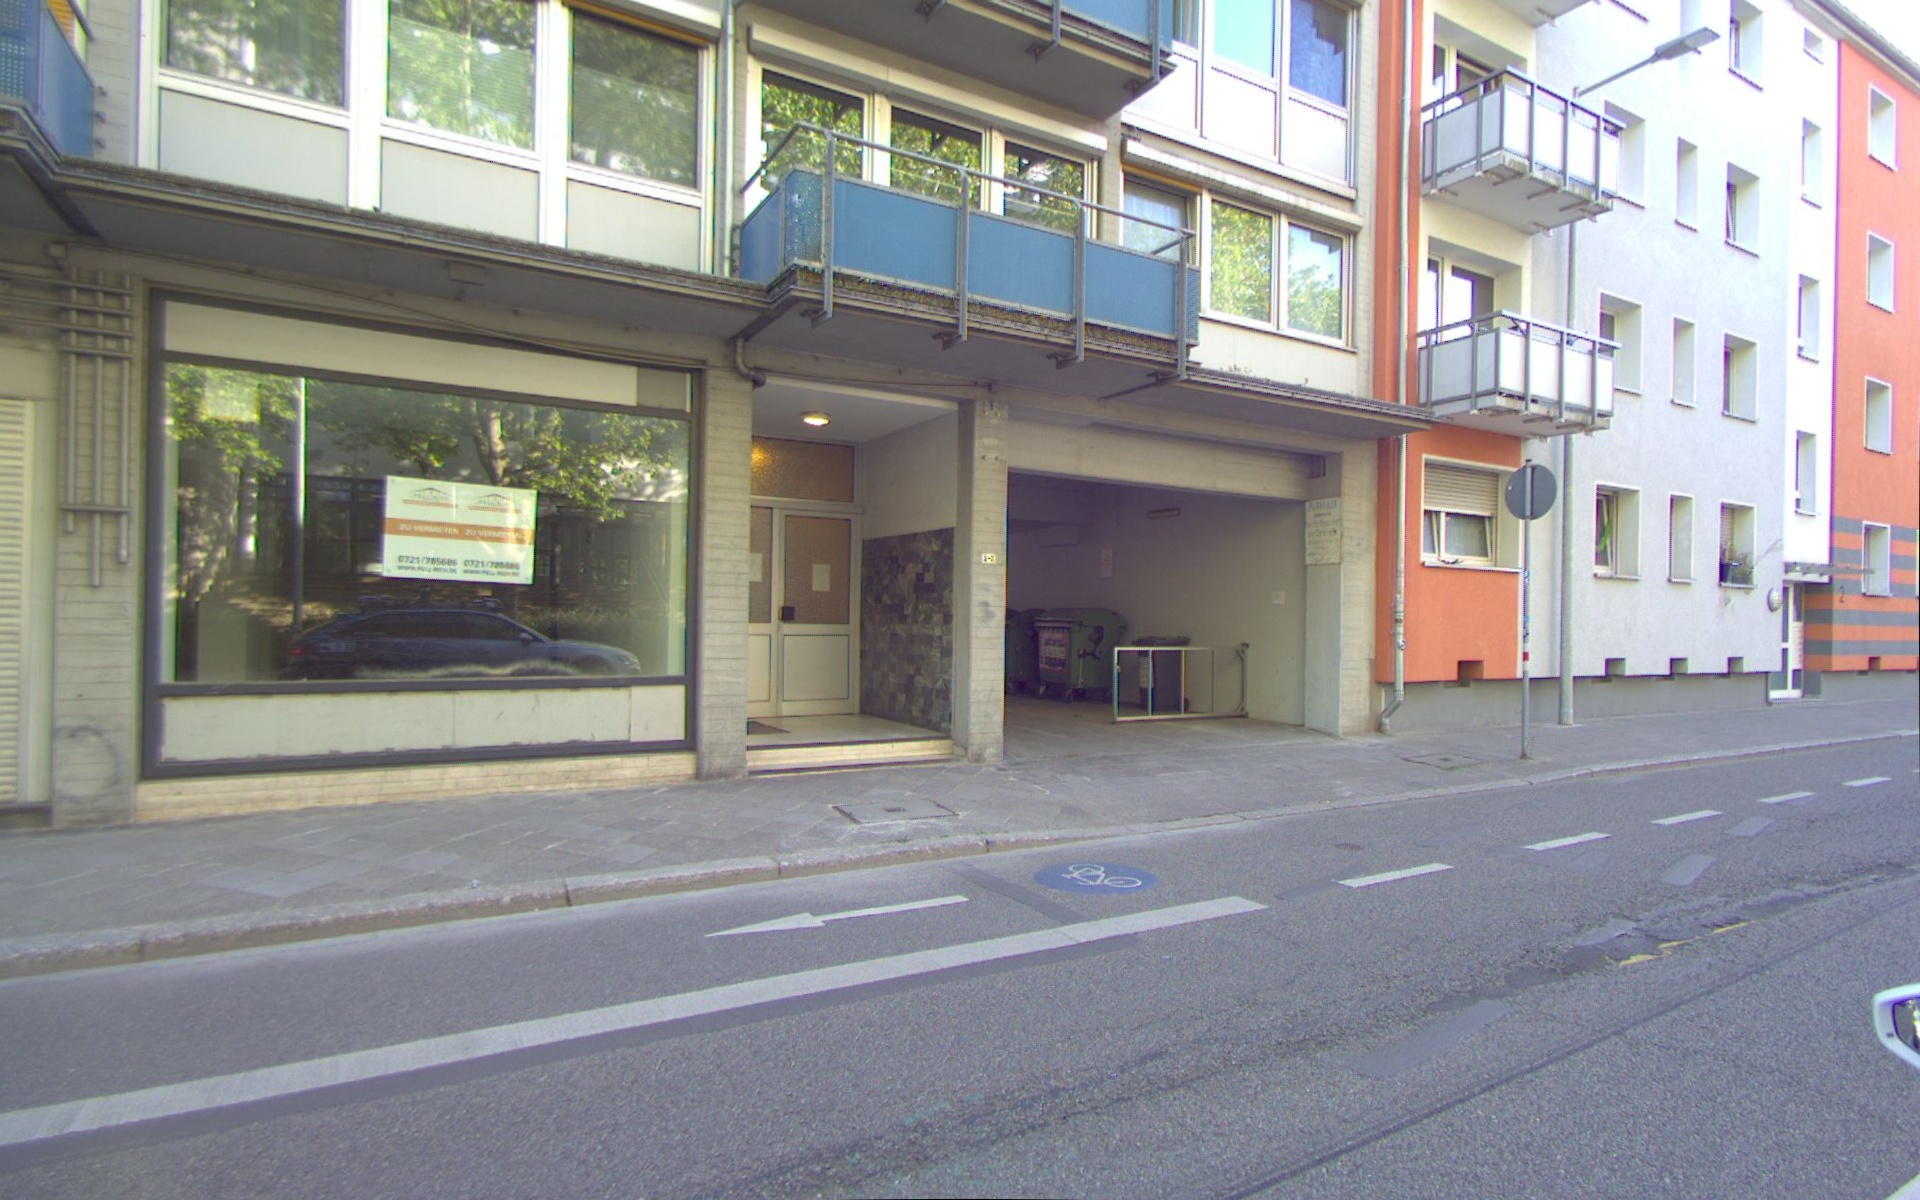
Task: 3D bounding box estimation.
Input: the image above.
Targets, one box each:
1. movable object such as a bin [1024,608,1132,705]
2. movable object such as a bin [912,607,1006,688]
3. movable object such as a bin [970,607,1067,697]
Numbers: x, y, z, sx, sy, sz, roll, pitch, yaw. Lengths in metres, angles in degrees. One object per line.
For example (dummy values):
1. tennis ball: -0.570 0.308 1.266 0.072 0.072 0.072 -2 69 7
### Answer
1. movable object such as a bin: 1.841 0.858 15.855 1.128 1.449 1.342 1 0 -28
2. movable object such as a bin: -0.038 0.861 18.881 1.119 1.449 1.666 1 0 -28
3. movable object such as a bin: 0.989 0.864 17.178 1.119 1.449 1.322 1 0 -28
